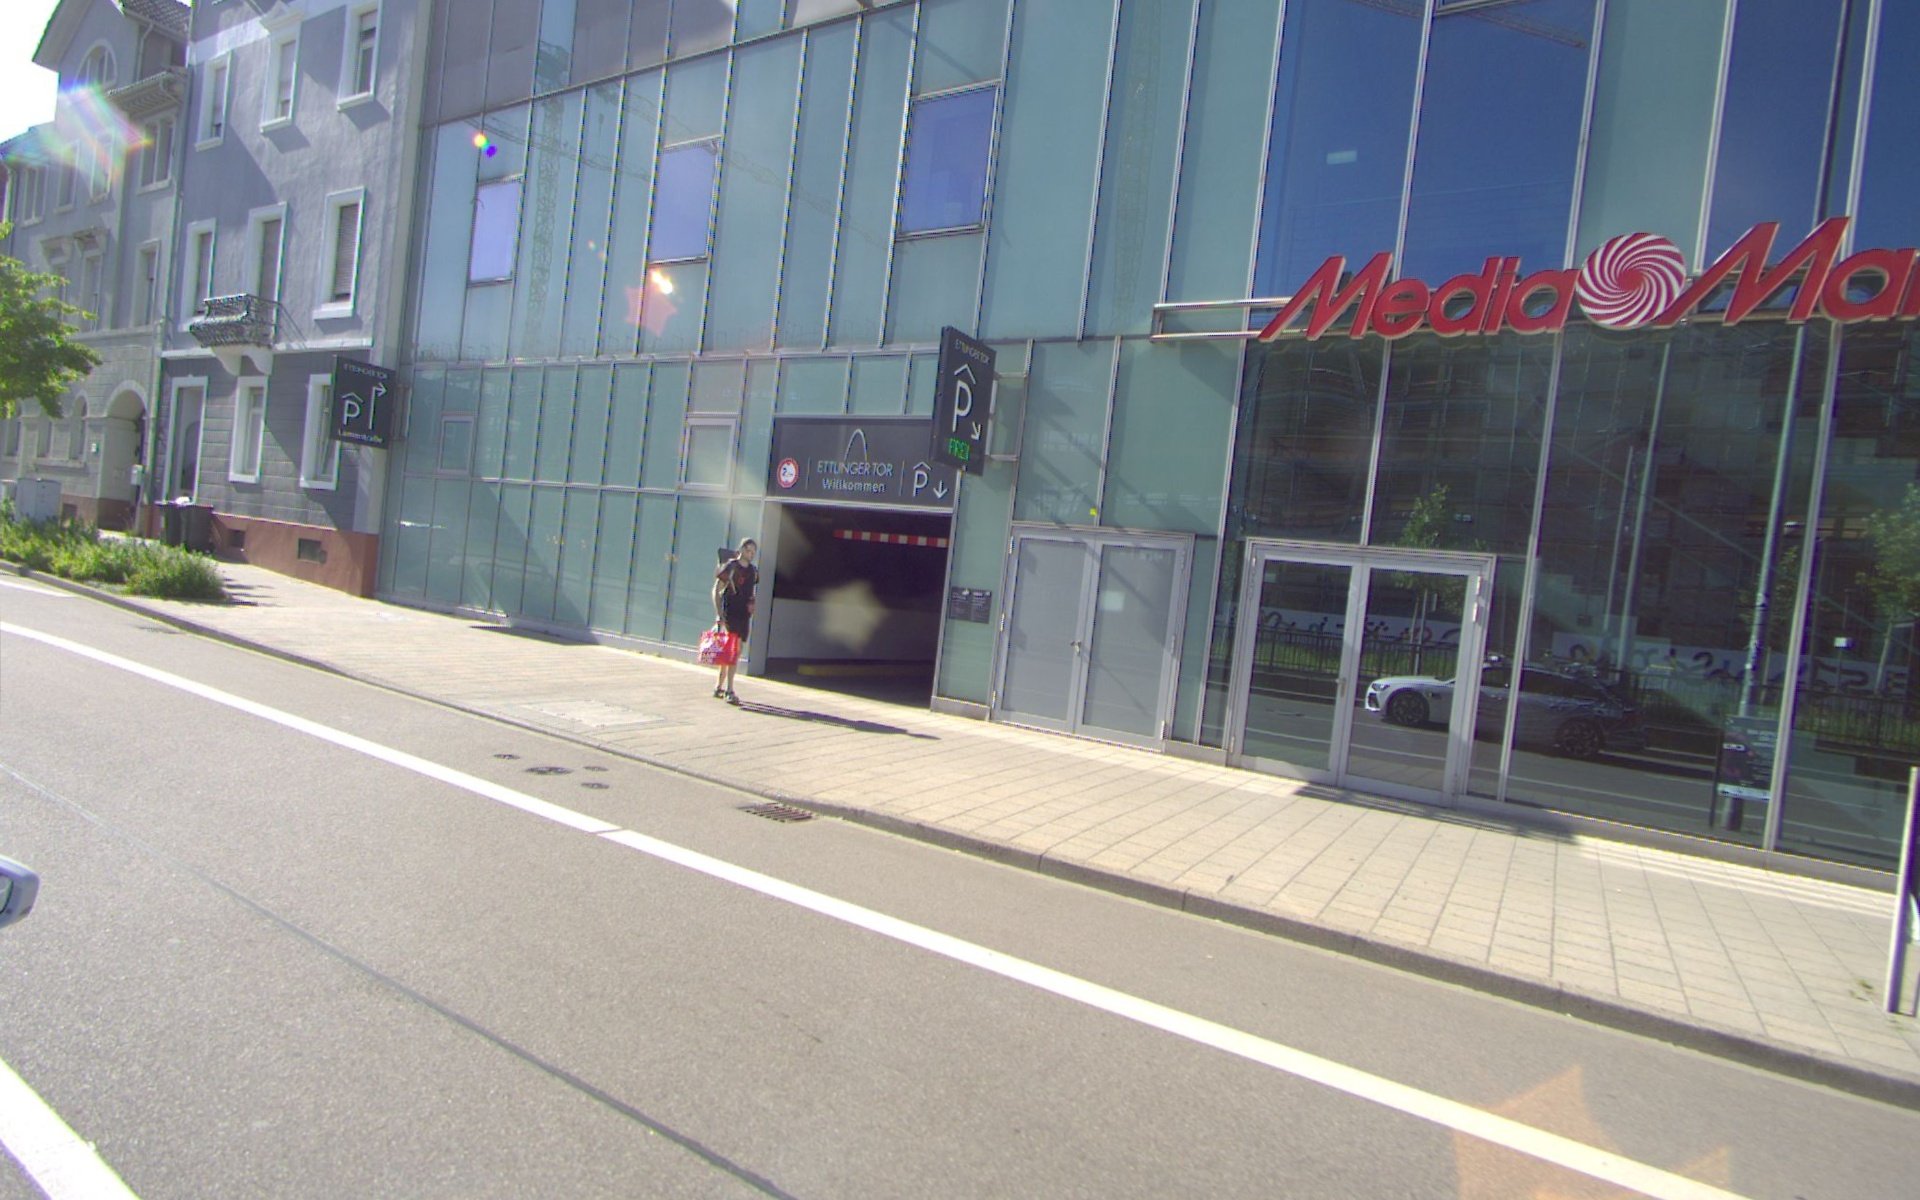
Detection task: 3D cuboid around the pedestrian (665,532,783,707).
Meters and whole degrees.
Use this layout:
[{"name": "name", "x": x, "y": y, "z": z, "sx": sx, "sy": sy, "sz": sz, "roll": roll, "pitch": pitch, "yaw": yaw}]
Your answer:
[{"name": "pedestrian", "x": -2.829, "y": 0.218, "z": 12.054, "sx": 0.880, "sy": 1.951, "sz": 0.875, "roll": 8, "pitch": 4, "yaw": 31}]

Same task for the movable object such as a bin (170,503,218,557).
[{"name": "movable object such as a bin", "x": -17.498, "y": -1.599, "z": 22.977, "sx": 0.692, "sy": 1.096, "sz": 0.603, "roll": 8, "pitch": 1, "yaw": 33}]

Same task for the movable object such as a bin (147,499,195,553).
[{"name": "movable object such as a bin", "x": -18.254, "y": -1.714, "z": 23.270, "sx": 0.692, "sy": 1.122, "sz": 0.588, "roll": 8, "pitch": 1, "yaw": 33}]
